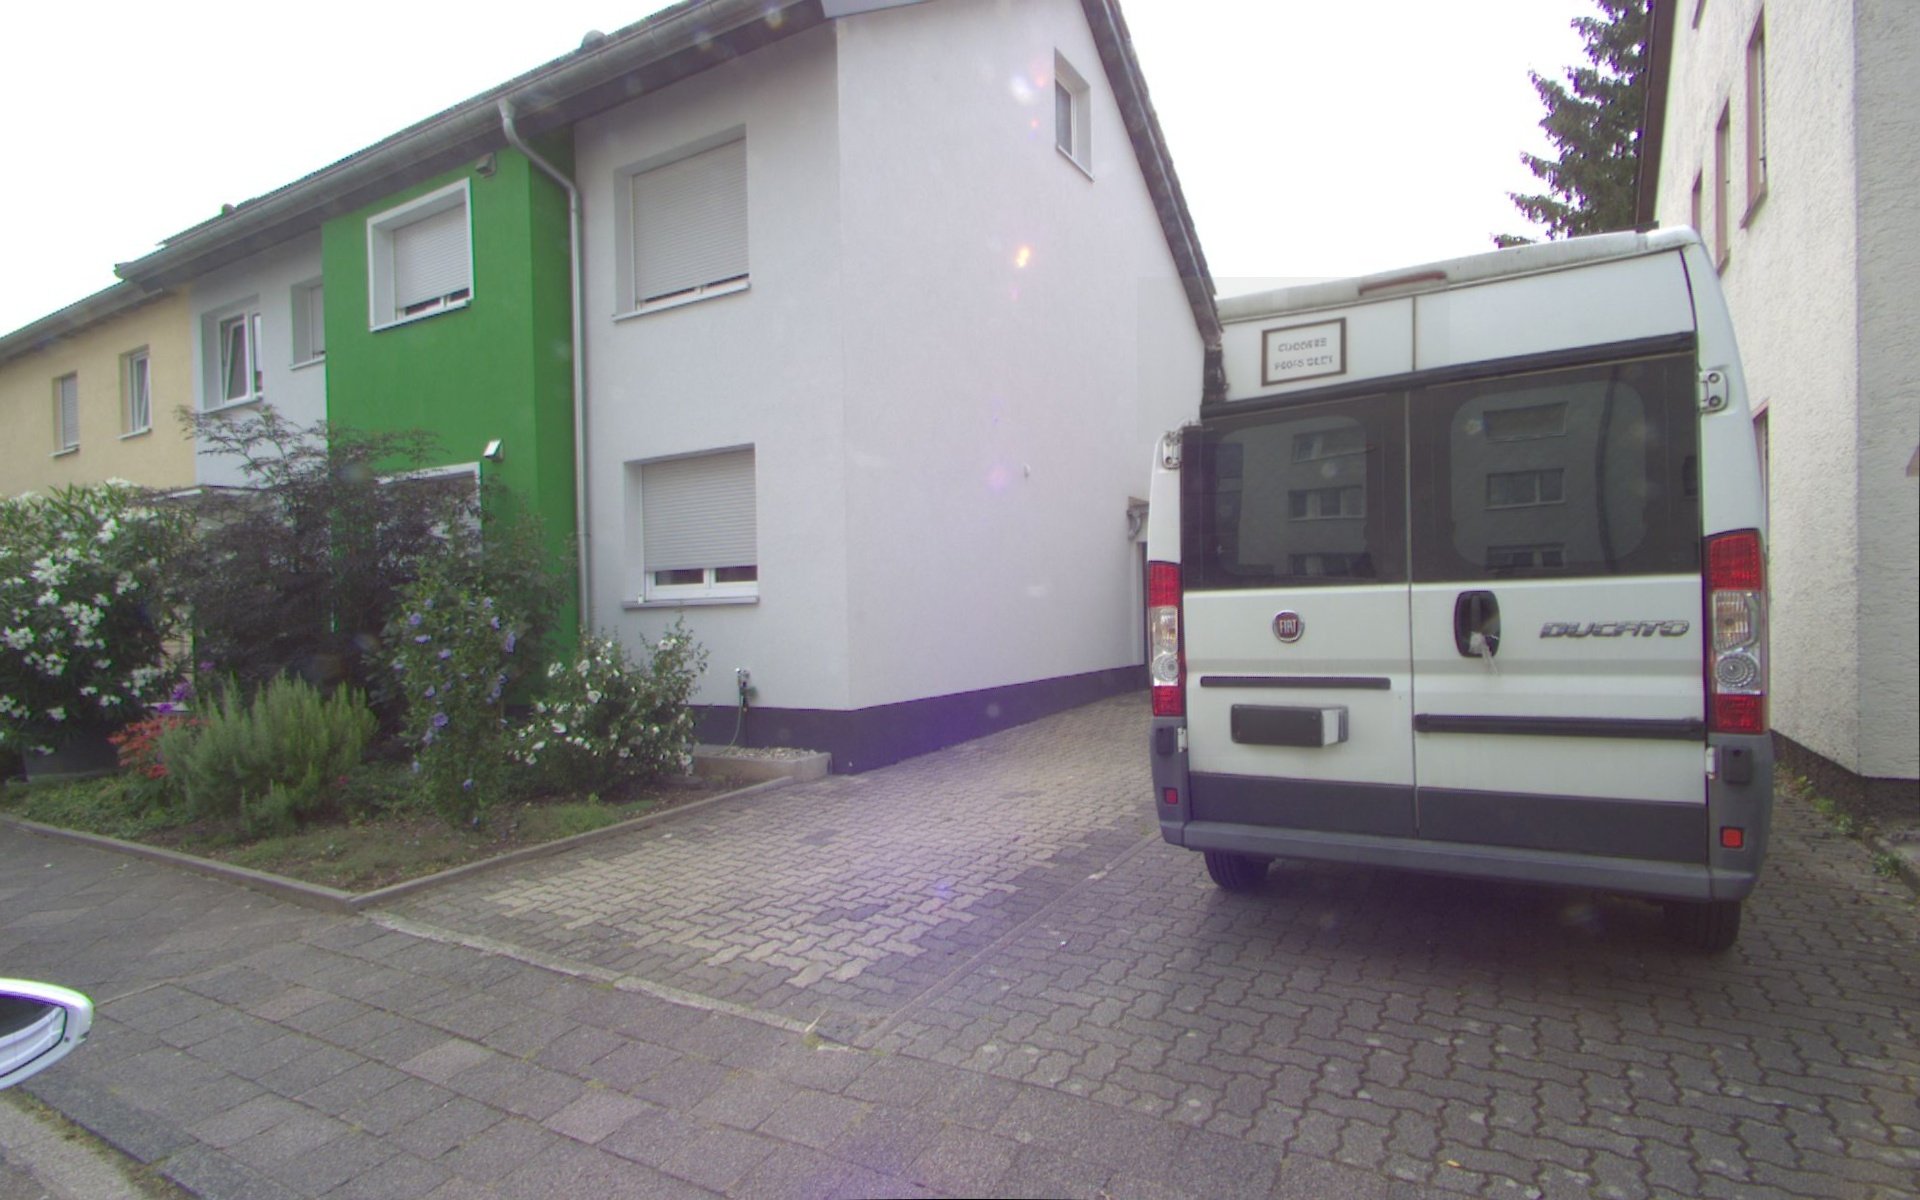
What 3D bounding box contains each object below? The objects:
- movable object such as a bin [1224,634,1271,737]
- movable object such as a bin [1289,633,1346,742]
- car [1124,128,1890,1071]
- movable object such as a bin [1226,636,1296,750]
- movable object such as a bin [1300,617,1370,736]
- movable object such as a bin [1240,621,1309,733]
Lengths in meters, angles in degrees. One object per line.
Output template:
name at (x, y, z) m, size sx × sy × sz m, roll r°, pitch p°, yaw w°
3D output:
movable object such as a bin at (2.732, 0.799, 9.499) m, size 0.333 × 0.938 × 0.354 m, roll -1°, pitch 2°, yaw 30°
movable object such as a bin at (3.265, 0.783, 9.134) m, size 0.396 × 0.938 × 0.448 m, roll -1°, pitch 2°, yaw 30°
car at (2.898, -0.023, 5.497) m, size 2.205 × 2.576 × 5.077 m, roll -1°, pitch 1°, yaw 31°
movable object such as a bin at (2.678, 0.807, 8.886) m, size 0.475 × 0.938 × 0.518 m, roll -1°, pitch 2°, yaw 30°
movable object such as a bin at (3.573, 0.714, 9.530) m, size 0.538 × 1.071 × 0.454 m, roll -1°, pitch 2°, yaw 30°
movable object such as a bin at (3.086, 0.740, 9.813) m, size 0.538 × 1.046 × 0.454 m, roll -1°, pitch 2°, yaw 30°
